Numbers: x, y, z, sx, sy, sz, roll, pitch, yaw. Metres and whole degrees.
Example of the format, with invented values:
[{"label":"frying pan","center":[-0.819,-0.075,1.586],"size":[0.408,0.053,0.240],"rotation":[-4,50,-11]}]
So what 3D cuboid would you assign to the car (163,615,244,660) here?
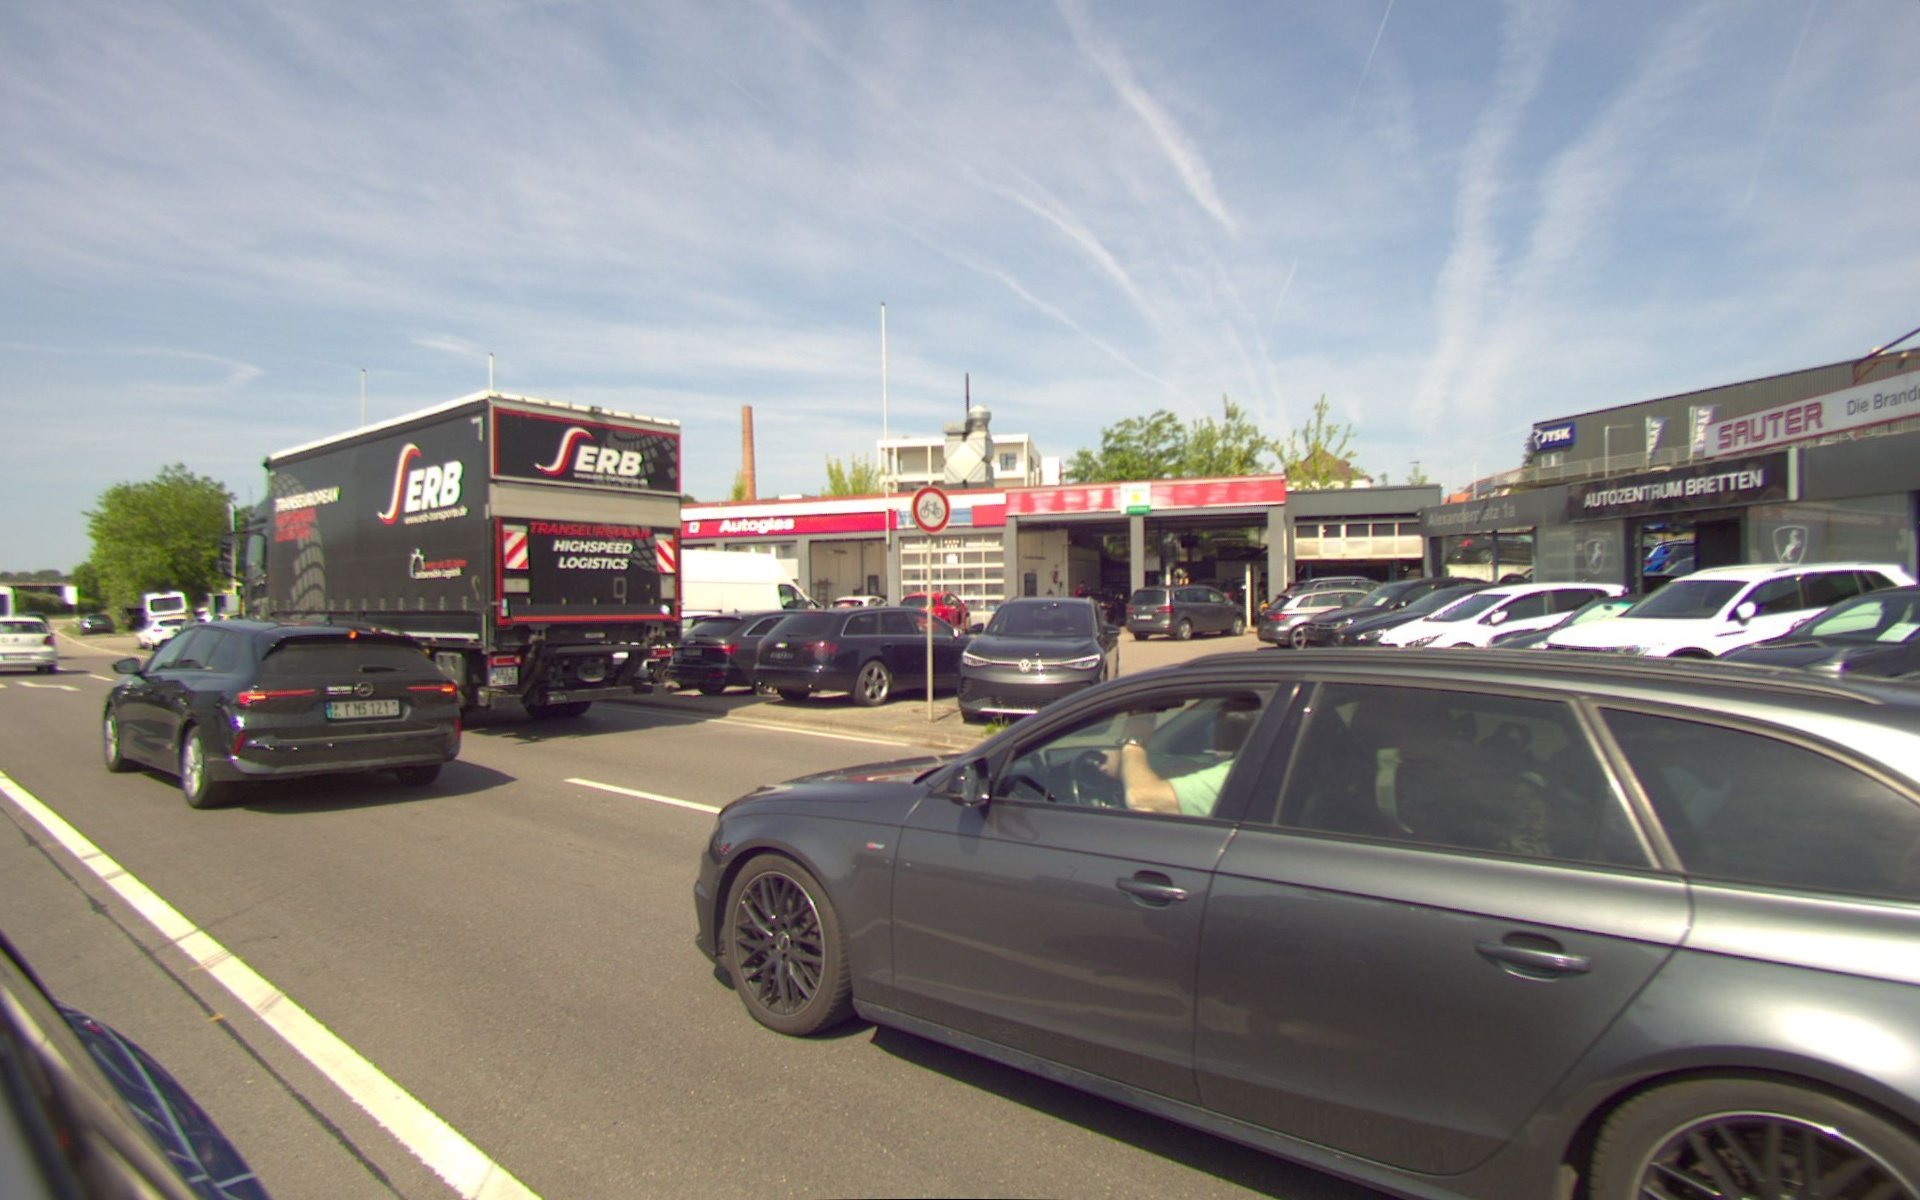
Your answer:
[{"label":"car","center":[-30.978,1.489,41.413],"size":[4.001,1.567,1.972],"rotation":[-1,3,44]}]

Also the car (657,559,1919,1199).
[{"label":"car","center":[1.177,0.744,3.146],"size":[4.584,1.535,1.843],"rotation":[-2,-2,40]}]

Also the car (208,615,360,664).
[{"label":"car","center":[-22.749,1.302,34.168],"size":[1.737,1.504,3.925],"rotation":[-1,-1,38]}]

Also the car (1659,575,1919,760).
[{"label":"car","center":[9.489,0.528,9.800],"size":[4.277,1.498,1.802],"rotation":[-2,1,-6]}]

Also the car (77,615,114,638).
[{"label":"car","center":[-60.554,1.843,70.877],"size":[1.801,1.538,4.464],"rotation":[2,-2,-42]}]

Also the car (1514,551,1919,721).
[{"label":"car","center":[9.482,0.374,12.296],"size":[4.403,1.762,1.894],"rotation":[-2,1,-3]}]

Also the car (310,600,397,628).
[{"label":"car","center":[-38.143,0.847,63.753],"size":[1.863,1.666,4.502],"rotation":[-1,0,22]}]

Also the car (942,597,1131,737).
[{"label":"car","center":[1.229,0.804,14.056],"size":[2.010,1.635,4.166],"rotation":[-1,0,13]}]

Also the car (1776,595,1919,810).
[{"label":"car","center":[8.930,0.646,7.326],"size":[4.570,1.447,1.977],"rotation":[-2,1,-5]}]

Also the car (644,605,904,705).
[{"label":"car","center":[-3.217,0.880,18.192],"size":[2.027,1.542,4.323],"rotation":[-1,-1,39]}]

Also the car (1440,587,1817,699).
[{"label":"car","center":[9.518,0.576,14.631],"size":[4.281,1.338,1.764],"rotation":[-2,1,-3]}]

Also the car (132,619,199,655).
[{"label":"car","center":[-35.976,1.636,45.799],"size":[4.000,1.425,1.742],"rotation":[-1,3,43]}]

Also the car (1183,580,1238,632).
[{"label":"car","center":[9.454,0.228,38.003],"size":[1.736,1.821,4.079],"rotation":[-1,-1,18]}]

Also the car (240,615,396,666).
[{"label":"car","center":[-20.546,1.258,32.494],"size":[1.756,1.493,3.943],"rotation":[-1,-1,43]}]

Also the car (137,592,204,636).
[{"label":"car","center":[-49.159,0.856,63.122],"size":[2.399,2.563,6.060],"rotation":[-1,0,-30]}]

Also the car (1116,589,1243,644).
[{"label":"car","center":[6.927,0.498,31.783],"size":[4.039,1.620,1.887],"rotation":[0,-1,-42]}]

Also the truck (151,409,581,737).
[{"label":"truck","center":[-10.174,-0.275,16.592],"size":[9.963,4.028,2.685],"rotation":[-1,-1,38]}]

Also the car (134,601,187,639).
[{"label":"car","center":[-56.742,1.415,71.797],"size":[2.405,2.563,5.343],"rotation":[-1,0,-44]}]

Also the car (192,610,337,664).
[{"label":"car","center":[-24.628,1.265,35.940],"size":[1.871,1.740,3.944],"rotation":[-1,-1,42]}]

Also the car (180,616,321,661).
[{"label":"car","center":[-26.370,1.383,37.703],"size":[1.998,1.536,3.947],"rotation":[-1,-1,39]}]

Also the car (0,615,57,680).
[{"label":"car","center":[-24.393,1.175,25.712],"size":[3.998,1.567,1.636],"rotation":[-1,-2,41]}]

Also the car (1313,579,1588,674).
[{"label":"car","center":[9.220,0.468,19.257],"size":[4.281,1.535,1.817],"rotation":[-2,1,-3]}]

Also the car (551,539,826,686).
[{"label":"car","center":[-5.862,0.273,22.535],"size":[2.116,2.860,5.647],"rotation":[-2,-2,42]}]

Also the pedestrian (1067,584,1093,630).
[{"label":"pedestrian","center":[4.633,0.274,39.158],"size":[0.739,1.740,0.860],"rotation":[-1,1,24]}]

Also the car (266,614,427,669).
[{"label":"car","center":[-18.604,1.208,30.806],"size":[1.949,1.510,3.826],"rotation":[-1,-1,43]}]

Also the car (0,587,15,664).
[{"label":"car","center":[-34.879,0.893,35.518],"size":[7.114,2.529,2.036],"rotation":[-1,-1,43]}]

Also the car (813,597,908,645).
[{"label":"car","center":[-3.367,0.692,35.069],"size":[1.869,1.531,3.920],"rotation":[-1,0,18]}]

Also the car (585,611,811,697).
[{"label":"car","center":[-5.070,0.986,19.955],"size":[1.881,1.481,3.944],"rotation":[-1,-1,42]}]

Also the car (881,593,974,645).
[{"label":"car","center":[-1.016,0.609,34.286],"size":[1.902,1.630,3.976],"rotation":[-1,0,18]}]

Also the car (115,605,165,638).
[{"label":"car","center":[-61.220,1.587,75.562],"size":[2.405,2.281,5.343],"rotation":[-1,0,-44]}]

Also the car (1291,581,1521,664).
[{"label":"car","center":[9.421,0.455,21.590],"size":[4.038,1.535,1.812],"rotation":[-2,1,-3]}]

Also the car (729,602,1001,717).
[{"label":"car","center":[-1.383,0.824,15.925],"size":[2.030,1.542,3.993],"rotation":[-1,-1,40]}]

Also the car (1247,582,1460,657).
[{"label":"car","center":[9.309,0.440,24.190],"size":[4.284,1.535,1.893],"rotation":[-2,1,0]}]

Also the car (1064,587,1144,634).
[{"label":"car","center":[5.507,0.366,38.315],"size":[1.858,1.574,4.068],"rotation":[-1,2,26]}]

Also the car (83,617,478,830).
[{"label":"car","center":[-6.155,0.892,8.965],"size":[4.374,1.454,1.694],"rotation":[-1,-2,39]}]

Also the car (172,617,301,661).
[{"label":"car","center":[-28.302,1.477,39.652],"size":[1.940,1.562,3.750],"rotation":[-1,-1,39]}]

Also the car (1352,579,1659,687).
[{"label":"car","center":[8.979,0.510,16.891],"size":[4.082,1.535,1.829],"rotation":[-2,1,-3]}]
